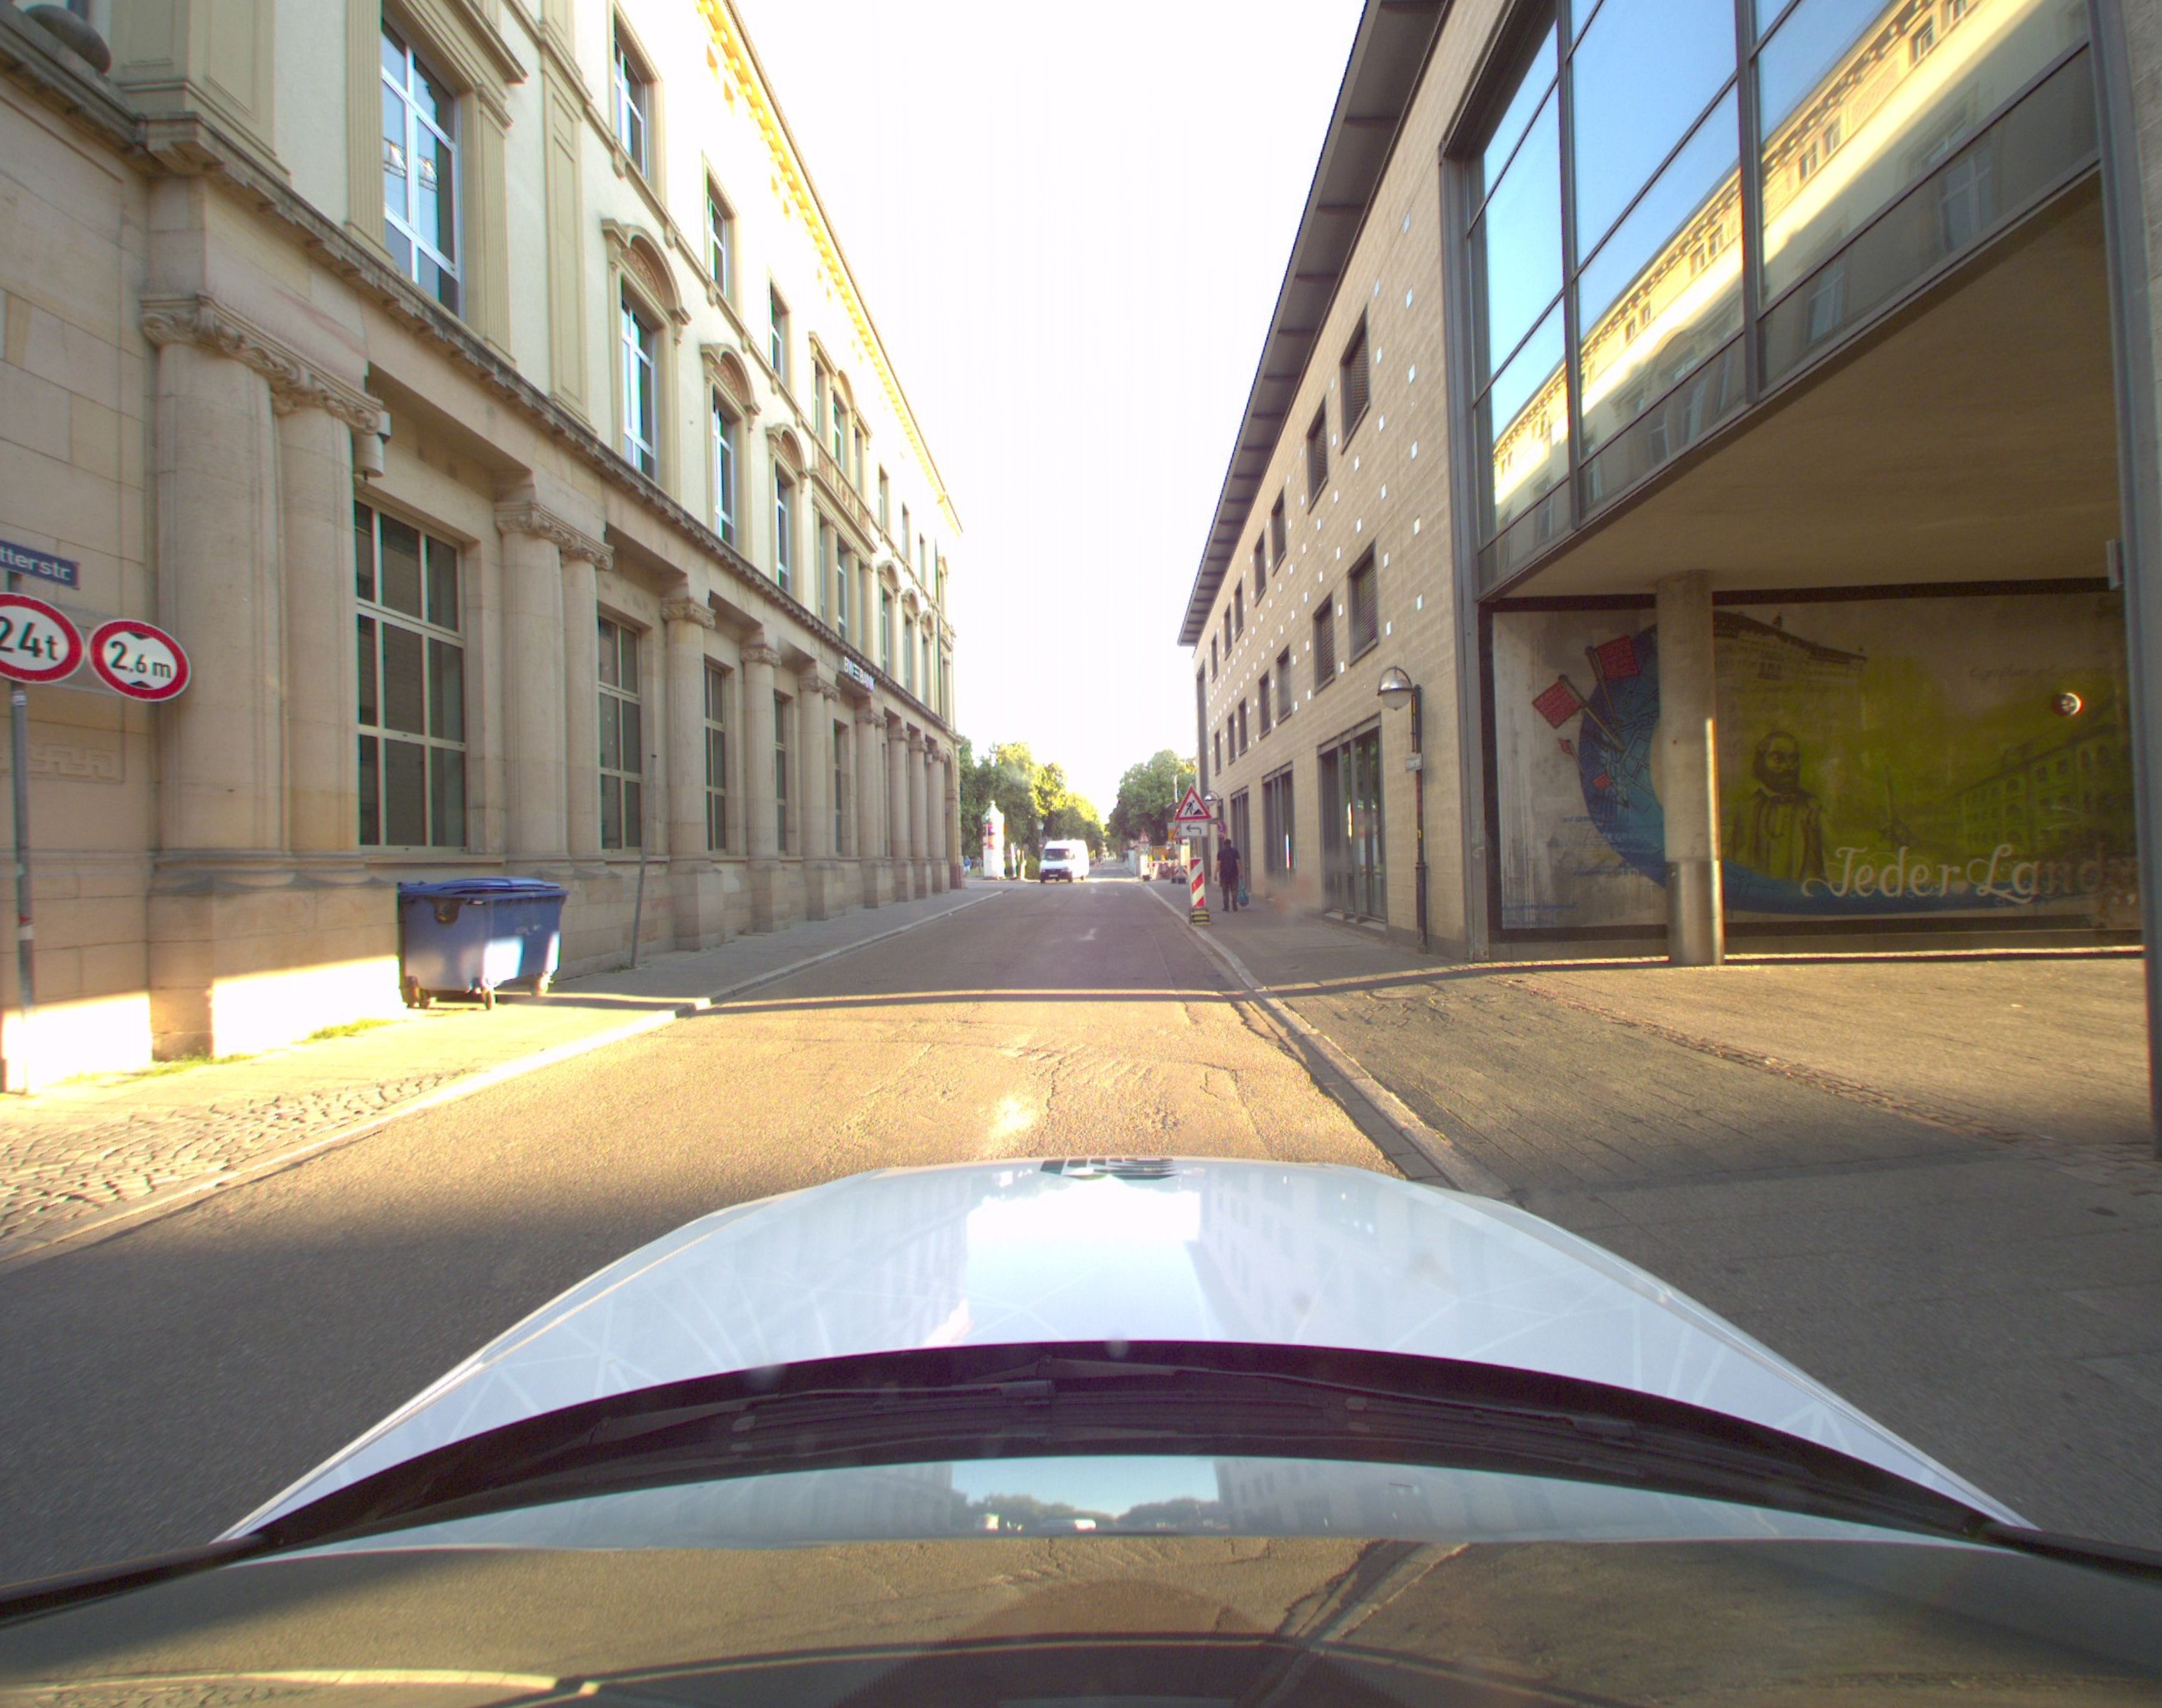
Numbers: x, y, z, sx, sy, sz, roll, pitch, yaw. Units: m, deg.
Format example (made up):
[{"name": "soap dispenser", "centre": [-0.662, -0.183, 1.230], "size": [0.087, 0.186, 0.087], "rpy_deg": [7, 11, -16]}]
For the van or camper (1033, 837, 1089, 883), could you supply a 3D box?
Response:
[{"name": "van or camper", "centre": [-1.140, 0.324, 49.831], "size": [2.206, 2.585, 6.388], "rpy_deg": [-2, 0, 9]}]

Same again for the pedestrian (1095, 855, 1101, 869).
[{"name": "pedestrian", "centre": [2.433, 1.181, 116.256], "size": [0.609, 2.014, 0.902], "rpy_deg": [-1, 0, -6]}]

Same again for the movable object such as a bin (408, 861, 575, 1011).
[{"name": "movable object such as a bin", "centre": [-6.402, 0.840, 8.929], "size": [0.825, 1.503, 1.292], "rpy_deg": [-1, 0, 3]}]

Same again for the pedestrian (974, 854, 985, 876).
[{"name": "pedestrian", "centre": [-8.446, 0.907, 67.653], "size": [0.850, 1.807, 0.661], "rpy_deg": [-1, 0, -11]}]

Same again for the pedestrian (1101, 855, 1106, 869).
[{"name": "pedestrian", "centre": [3.145, 1.144, 115.796], "size": [0.580, 2.014, 0.680], "rpy_deg": [-1, 0, -6]}]

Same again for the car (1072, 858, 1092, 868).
[{"name": "car", "centre": [0.220, 1.793, 161.350], "size": [3.539, 1.783, 1.795], "rpy_deg": [-2, -1, 11]}]

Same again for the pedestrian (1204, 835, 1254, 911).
[{"name": "pedestrian", "centre": [3.643, 0.464, 20.153], "size": [0.997, 1.803, 0.882], "rpy_deg": [-3, -1, 1]}]

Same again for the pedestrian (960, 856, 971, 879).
[{"name": "pedestrian", "centre": [-9.518, 1.116, 67.353], "size": [0.850, 1.807, 0.661], "rpy_deg": [-1, 0, -11]}]
